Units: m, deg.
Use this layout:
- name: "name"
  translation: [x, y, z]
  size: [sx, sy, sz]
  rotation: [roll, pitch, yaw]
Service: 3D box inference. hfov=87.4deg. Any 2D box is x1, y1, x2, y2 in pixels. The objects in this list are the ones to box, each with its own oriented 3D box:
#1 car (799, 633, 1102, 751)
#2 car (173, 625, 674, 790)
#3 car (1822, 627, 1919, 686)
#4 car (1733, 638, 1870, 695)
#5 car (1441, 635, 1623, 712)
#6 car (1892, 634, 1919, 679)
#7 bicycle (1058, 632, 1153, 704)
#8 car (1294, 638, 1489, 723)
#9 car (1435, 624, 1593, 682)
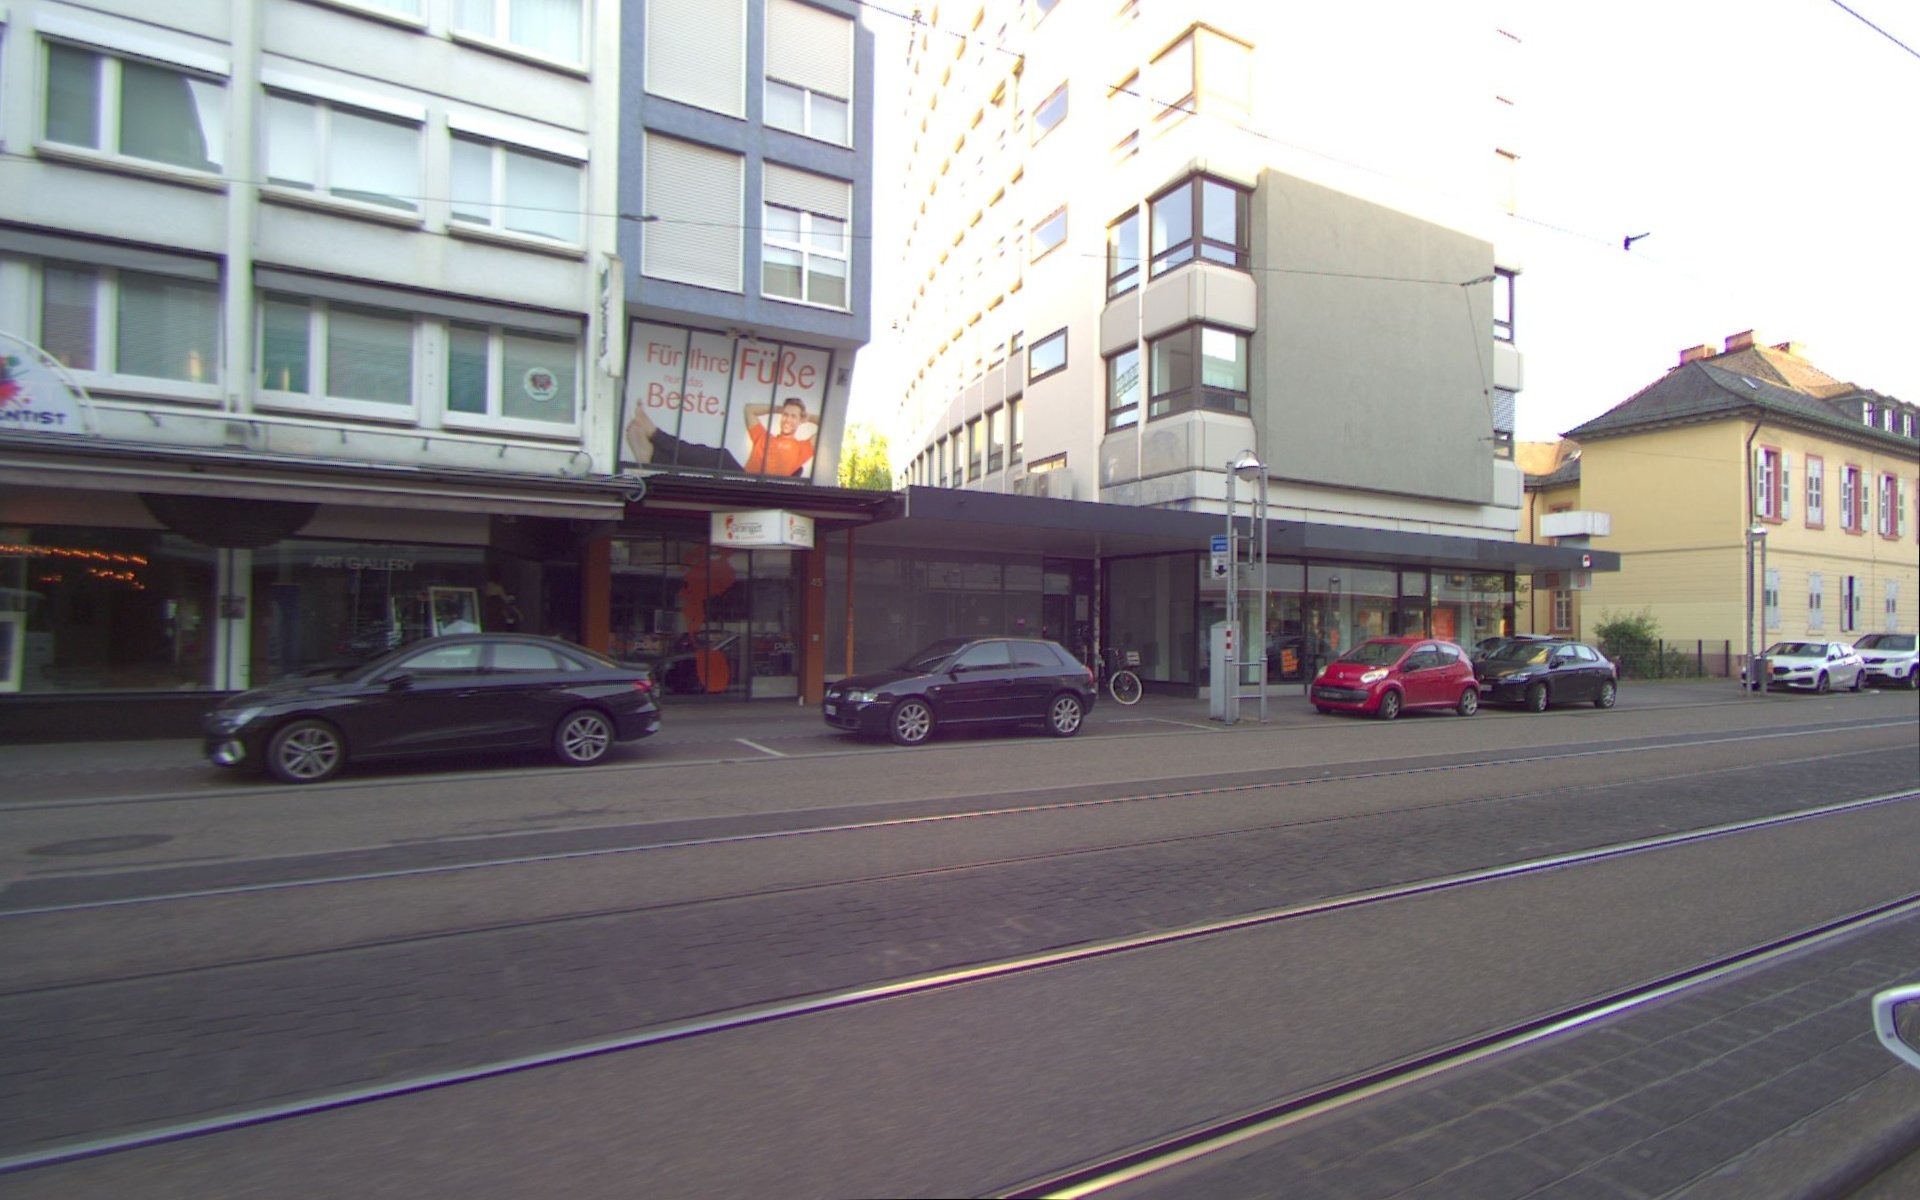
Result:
- name: "car"
  translation: [-0.095, 1.234, 14.503]
  size: [4.042, 1.480, 1.782]
  rotation: [1, -2, -29]
- name: "car"
  translation: [-5.693, 1.073, 11.155]
  size: [4.518, 1.445, 1.863]
  rotation: [2, 0, -30]
- name: "car"
  translation: [29.380, 1.740, 31.776]
  size: [4.709, 1.683, 1.876]
  rotation: [1, 0, -32]
- name: "car"
  translation: [24.216, 1.856, 28.871]
  size: [4.234, 1.472, 1.712]
  rotation: [1, 0, -31]
- name: "car"
  translation: [12.404, 1.524, 21.733]
  size: [3.919, 1.444, 1.683]
  rotation: [1, 1, -30]
- name: "car"
  translation: [34.419, 1.985, 35.028]
  size: [3.953, 1.494, 1.739]
  rotation: [1, 0, -31]
- name: "bicycle"
  translation: [3.002, 1.381, 20.928]
  size: [0.865, 1.358, 2.037]
  rotation: [2, 0, -29]
- name: "car"
  translation: [8.282, 1.469, 19.243]
  size: [3.550, 1.453, 1.684]
  rotation: [1, -1, -30]
- name: "car"
  translation: [17.500, 1.641, 31.894]
  size: [1.893, 1.573, 3.965]
  rotation: [2, 0, -31]
